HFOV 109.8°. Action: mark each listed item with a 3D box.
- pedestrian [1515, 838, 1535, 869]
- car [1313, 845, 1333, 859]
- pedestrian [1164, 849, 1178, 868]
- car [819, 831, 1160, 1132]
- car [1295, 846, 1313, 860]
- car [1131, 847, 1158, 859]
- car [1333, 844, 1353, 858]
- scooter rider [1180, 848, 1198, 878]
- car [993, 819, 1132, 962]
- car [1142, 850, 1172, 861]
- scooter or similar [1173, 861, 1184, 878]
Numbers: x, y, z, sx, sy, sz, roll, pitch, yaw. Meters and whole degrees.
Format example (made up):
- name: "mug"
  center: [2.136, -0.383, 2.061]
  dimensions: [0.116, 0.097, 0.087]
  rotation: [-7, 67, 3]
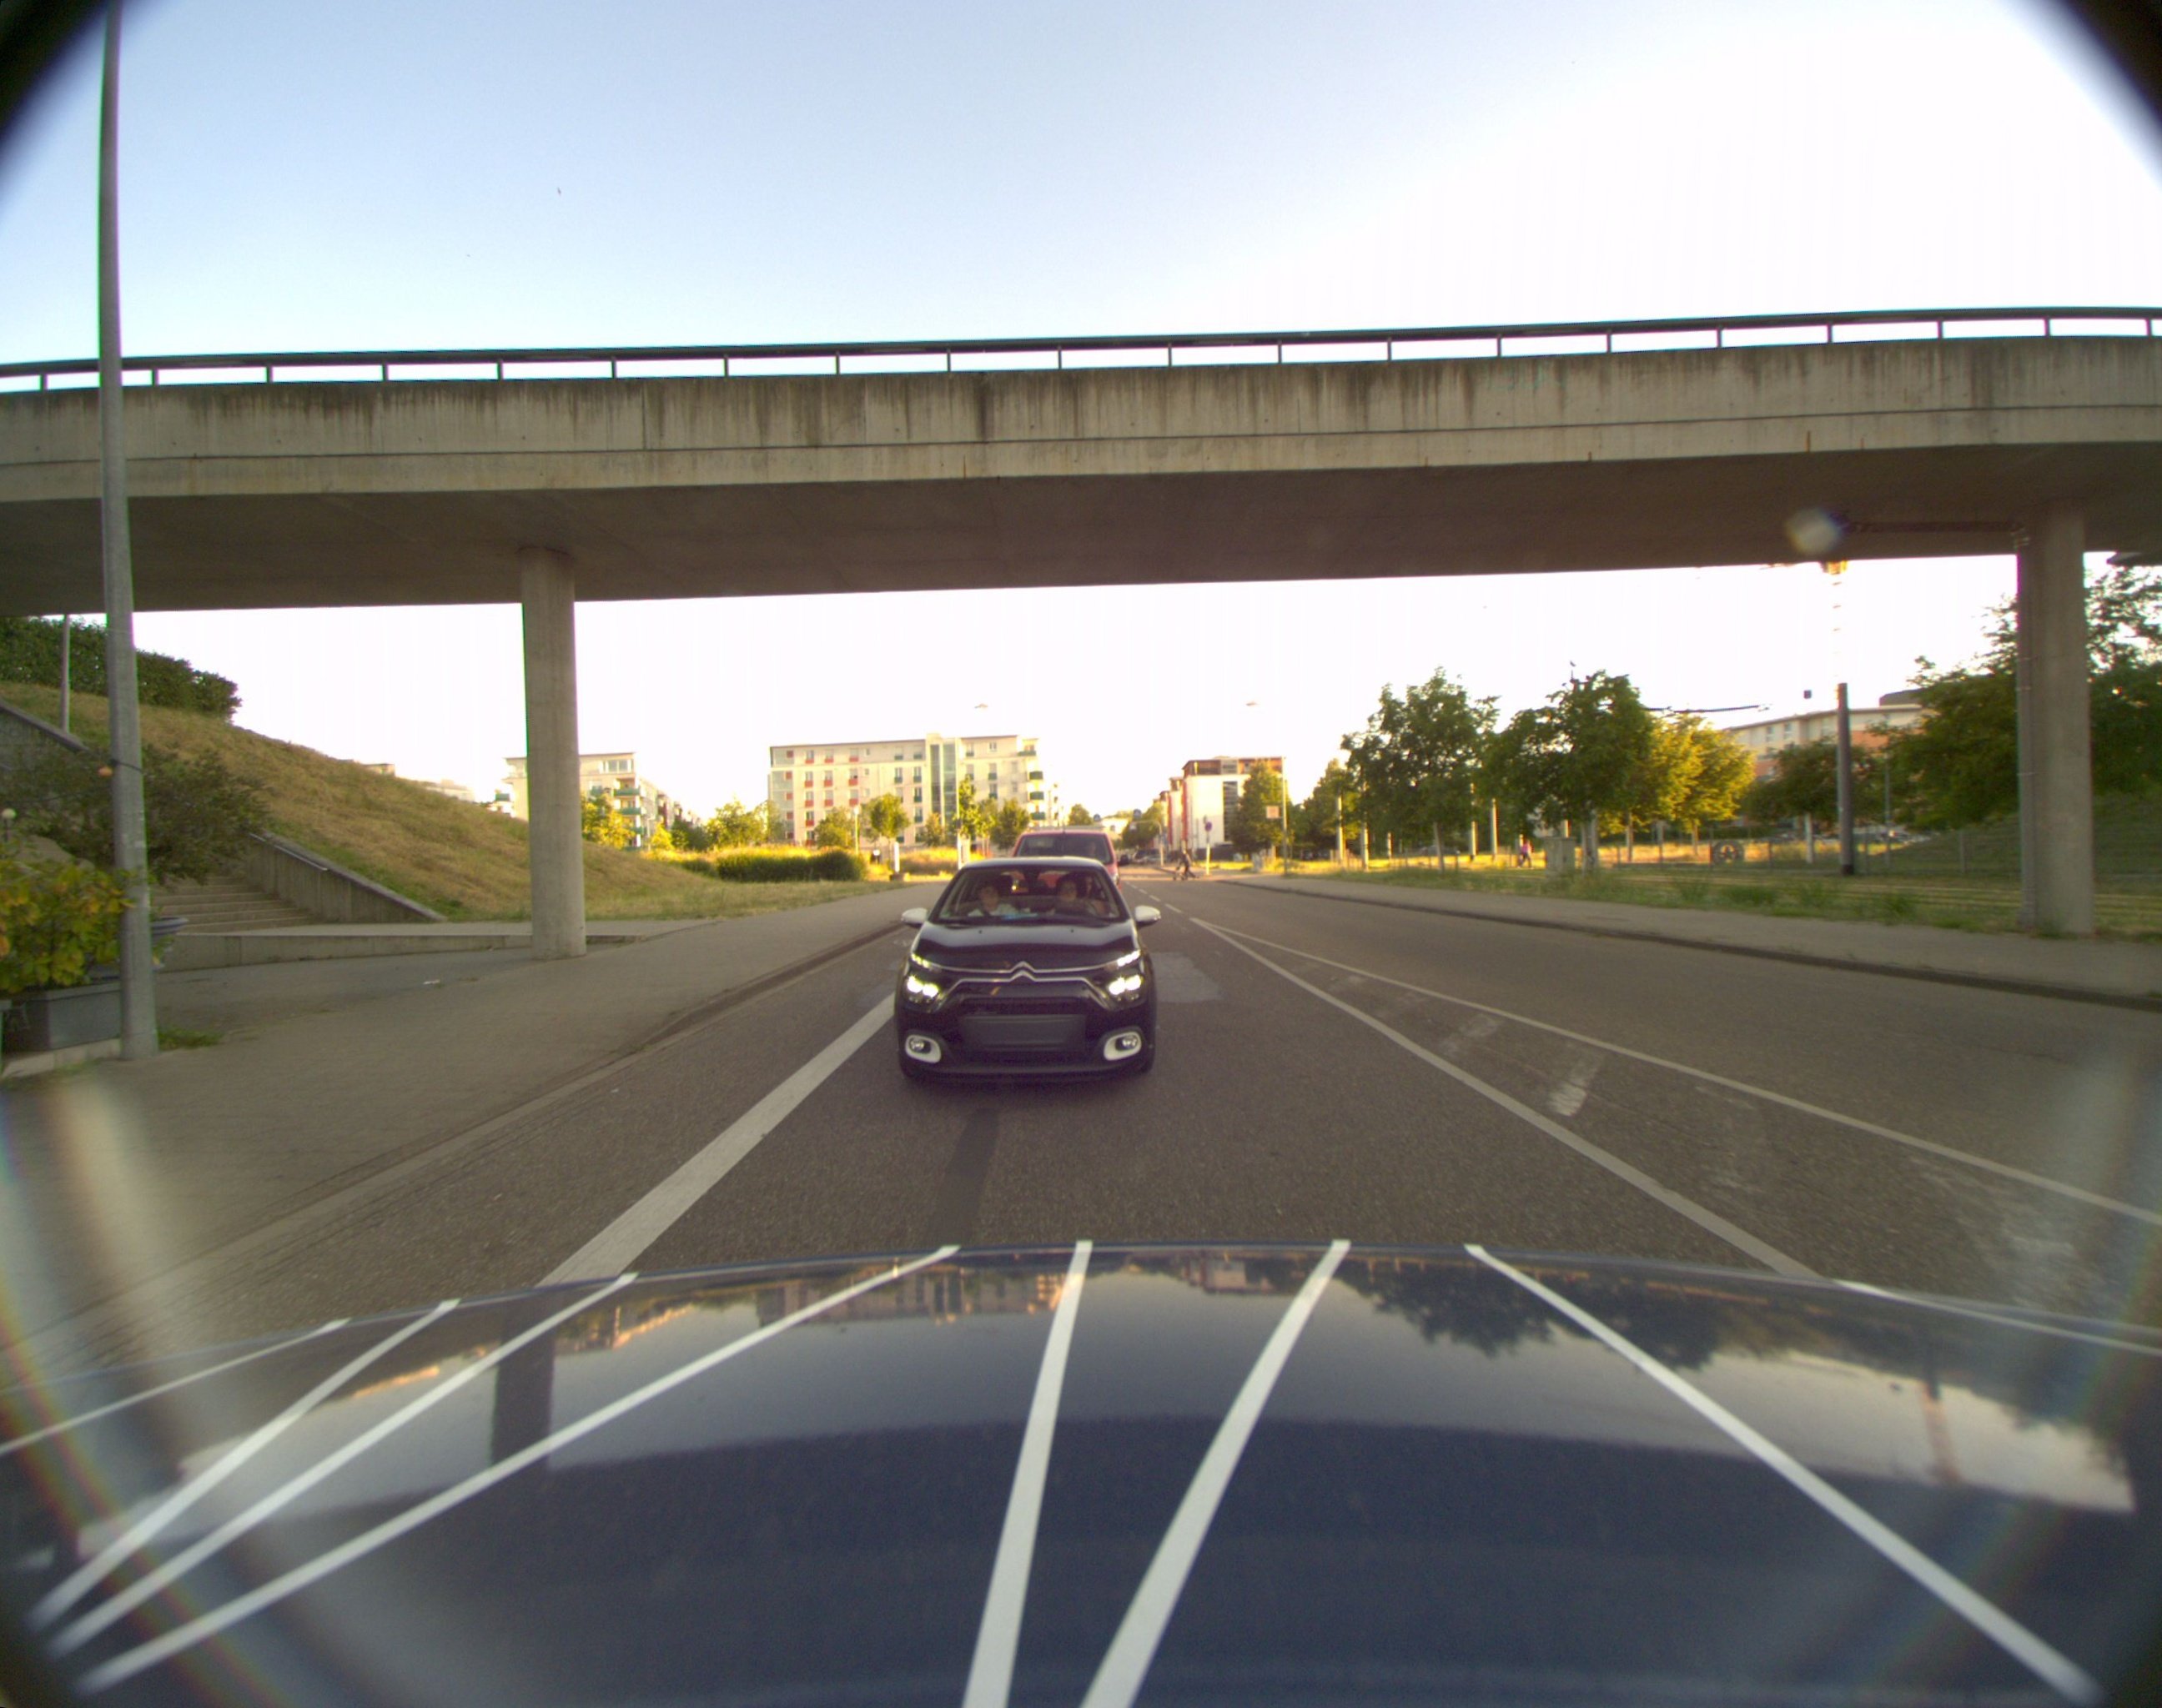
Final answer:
- name: "pedestrian"
  center: [23.588, -0.016, 40.393]
  dimensions: [0.779, 1.602, 0.417]
  rotation: [-2, 1, 12]
- name: "car"
  center: [30.953, -0.274, 97.364]
  dimensions: [1.869, 1.711, 3.847]
  rotation: [-2, 0, 9]
- name: "pedestrian"
  center: [9.906, 0.494, 83.308]
  dimensions: [1.088, 2.002, 1.141]
  rotation: [-1, 1, 29]
- name: "car"
  center: [-0.536, 0.678, 6.089]
  dimensions: [1.760, 1.543, 4.071]
  rotation: [-2, 0, -2]
- name: "car"
  center: [28.641, -0.190, 97.717]
  dimensions: [1.869, 1.711, 3.848]
  rotation: [-2, 0, 12]
- name: "car"
  center: [12.074, -0.228, 144.671]
  dimensions: [4.745, 2.002, 1.999]
  rotation: [-2, 1, -2]
- name: "car"
  center: [33.464, -0.362, 97.092]
  dimensions: [1.869, 1.711, 3.848]
  rotation: [-2, 0, 12]
- name: "scooter rider"
  center: [5.755, 0.494, 40.485]
  dimensions: [0.897, 1.568, 0.712]
  rotation: [-2, 1, 9]
- name: "car"
  center: [-0.291, 0.529, 13.441]
  dimensions: [1.931, 1.979, 4.821]
  rotation: [-3, 0, -1]
- name: "car"
  center: [11.408, 0.236, 114.492]
  dimensions: [4.387, 1.550, 1.839]
  rotation: [-2, 1, 2]
- name: "scooter or similar"
  center: [5.223, 0.834, 40.575]
  dimensions: [0.552, 0.890, 0.723]
  rotation: [-1, 1, 8]
